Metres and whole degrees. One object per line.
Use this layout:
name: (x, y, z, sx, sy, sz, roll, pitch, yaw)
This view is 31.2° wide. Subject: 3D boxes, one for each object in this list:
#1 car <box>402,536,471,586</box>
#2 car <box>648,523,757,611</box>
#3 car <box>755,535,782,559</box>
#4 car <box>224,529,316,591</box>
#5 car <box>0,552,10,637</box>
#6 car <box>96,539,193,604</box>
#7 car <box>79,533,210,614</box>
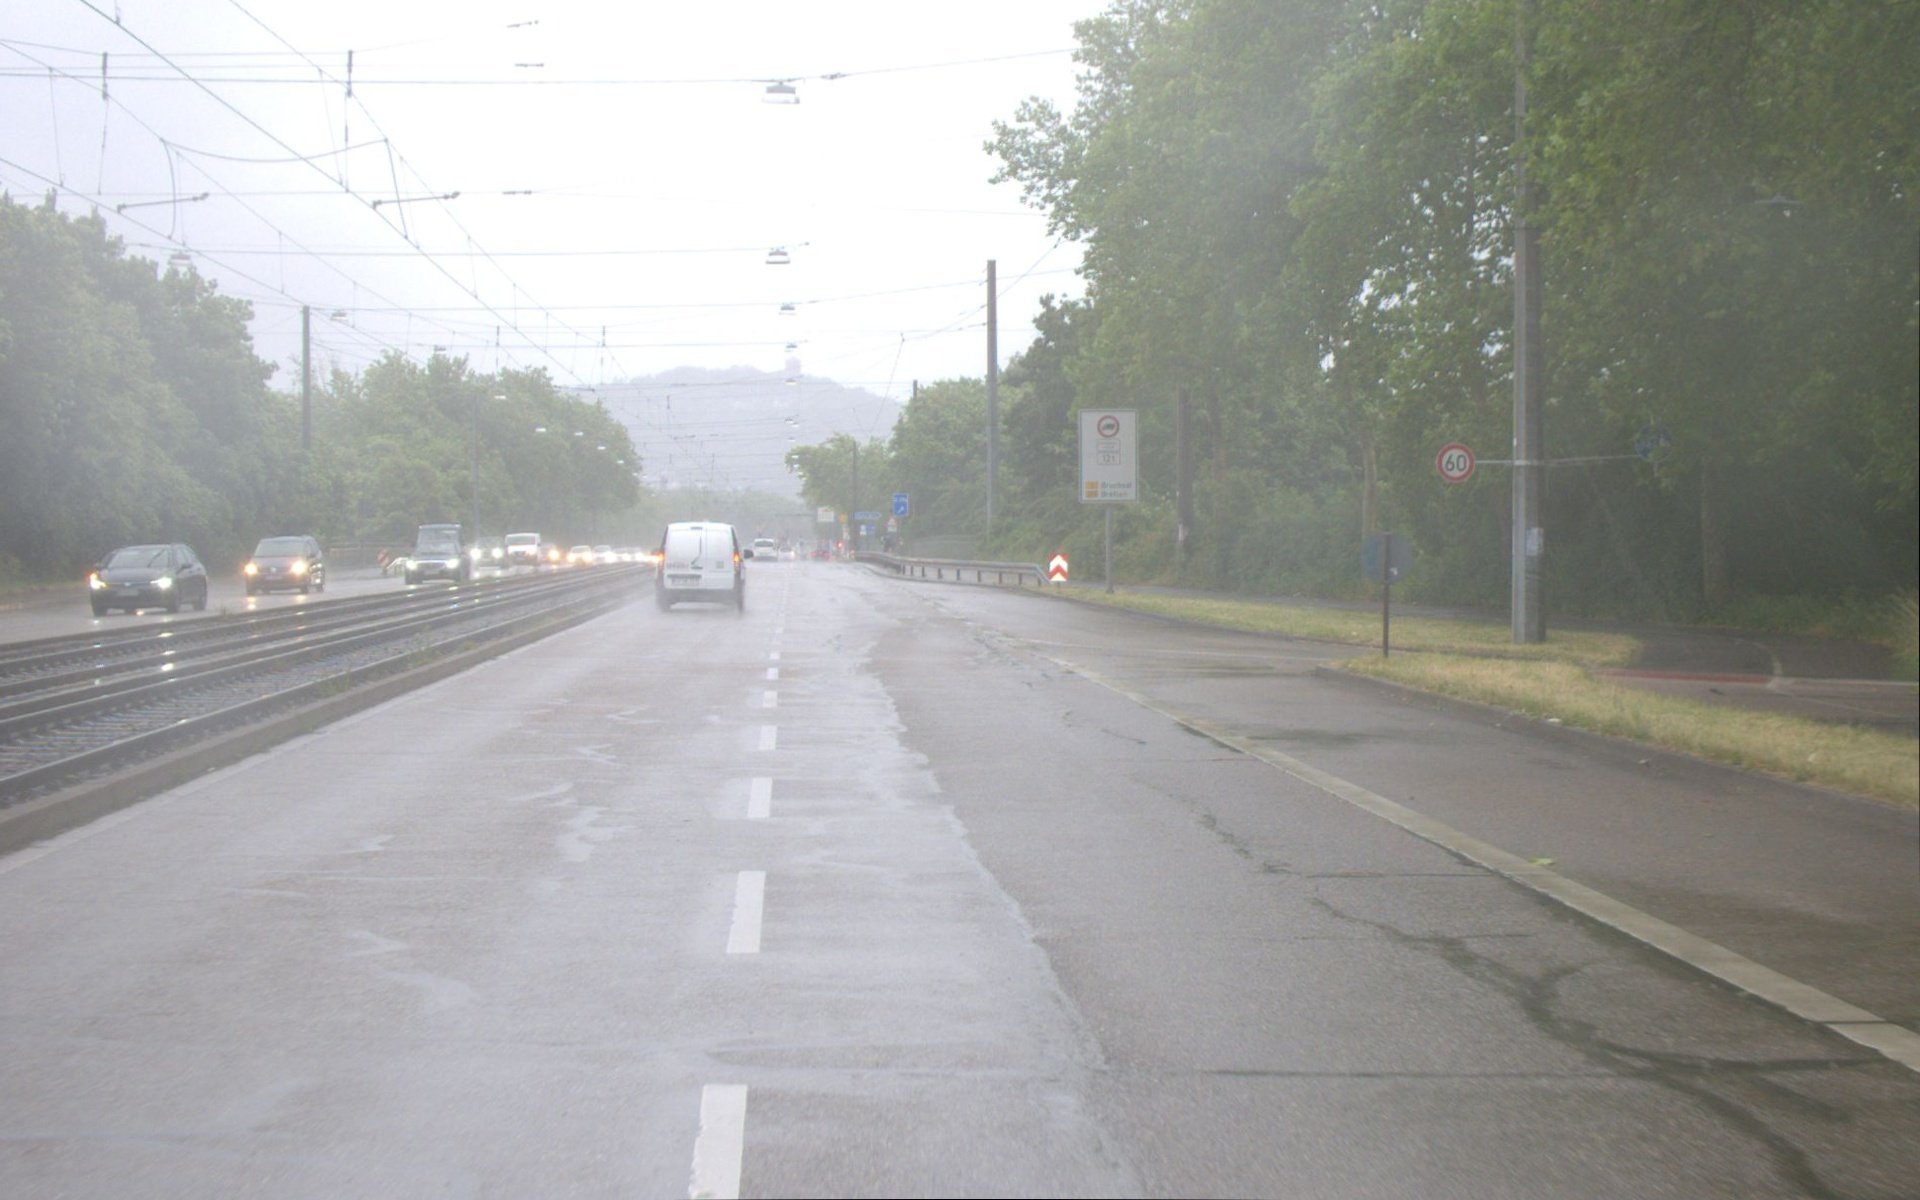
car: (-18.030, -1.374, 118.692, 1.776, 1.579, 5.682, 1, 2, -3)
car: (-5.224, -0.697, 70.024, 1.989, 1.678, 3.740, 1, 2, -1)
car: (-12.604, -3.497, 226.389, 1.743, 1.503, 3.701, 1, 2, -3)
car: (-20.688, -1.237, 103.274, 1.819, 1.700, 6.106, 1, 2, -3)
car: (-22.065, -0.093, 71.549, 2.084, 1.792, 4.759, 2, 2, 19)
car: (-23.460, -0.842, 99.067, 1.819, 1.700, 5.021, 1, 2, -3)
car: (-17.376, -0.591, 73.430, 1.790, 1.544, 5.314, 1, 2, -3)
